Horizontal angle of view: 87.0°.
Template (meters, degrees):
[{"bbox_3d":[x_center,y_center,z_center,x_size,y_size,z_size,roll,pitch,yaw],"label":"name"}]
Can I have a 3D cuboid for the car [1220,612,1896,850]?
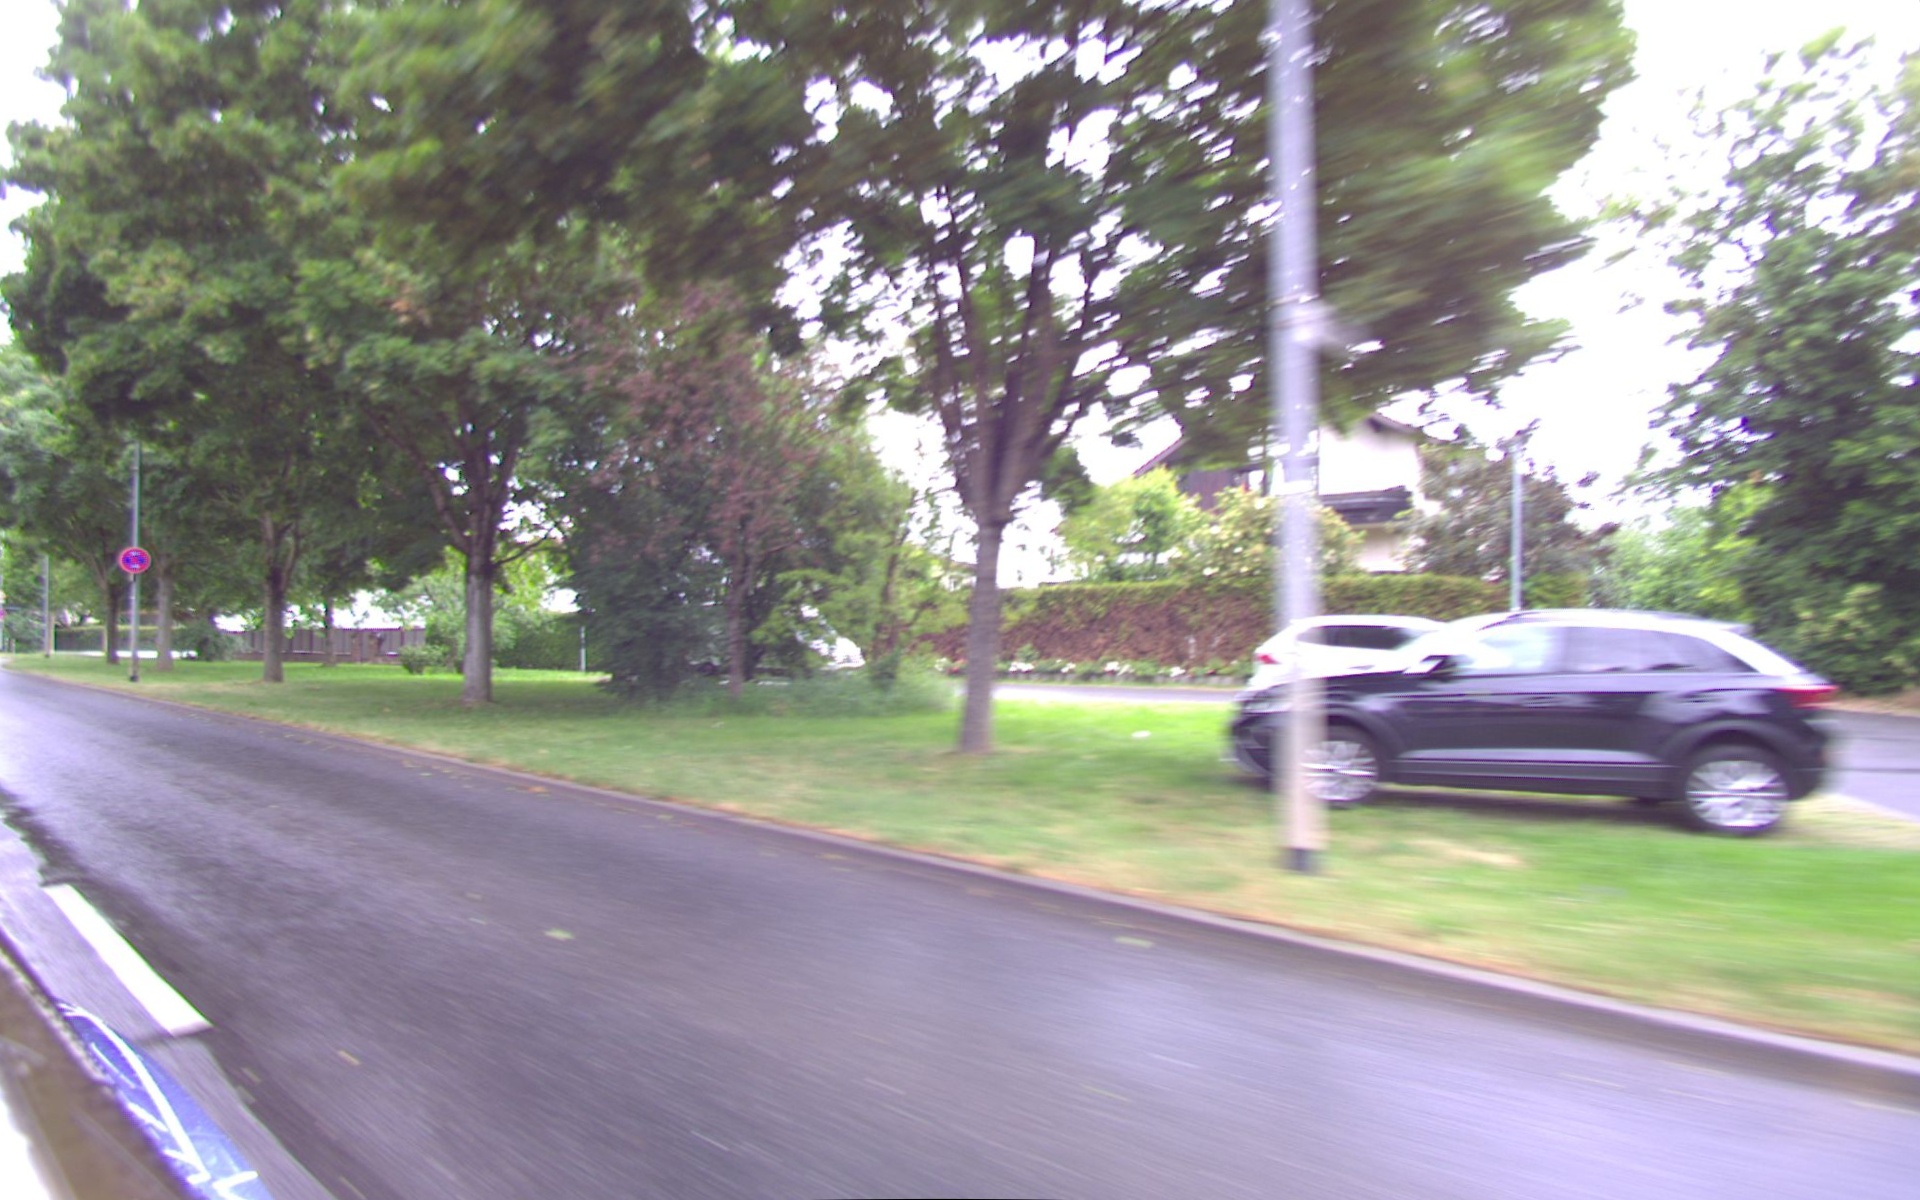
[{"bbox_3d":[4.262,0.897,8.060,4.212,1.525,1.884,0,-3,17],"label":"car"}]

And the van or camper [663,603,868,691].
[{"bbox_3d":[-5.760,1.376,29.598,6.134,2.353,2.073,-2,-3,32],"label":"van or camper"}]

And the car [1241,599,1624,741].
[{"bbox_3d":[6.796,0.961,15.093,4.864,1.783,1.896,1,-2,22],"label":"car"}]
